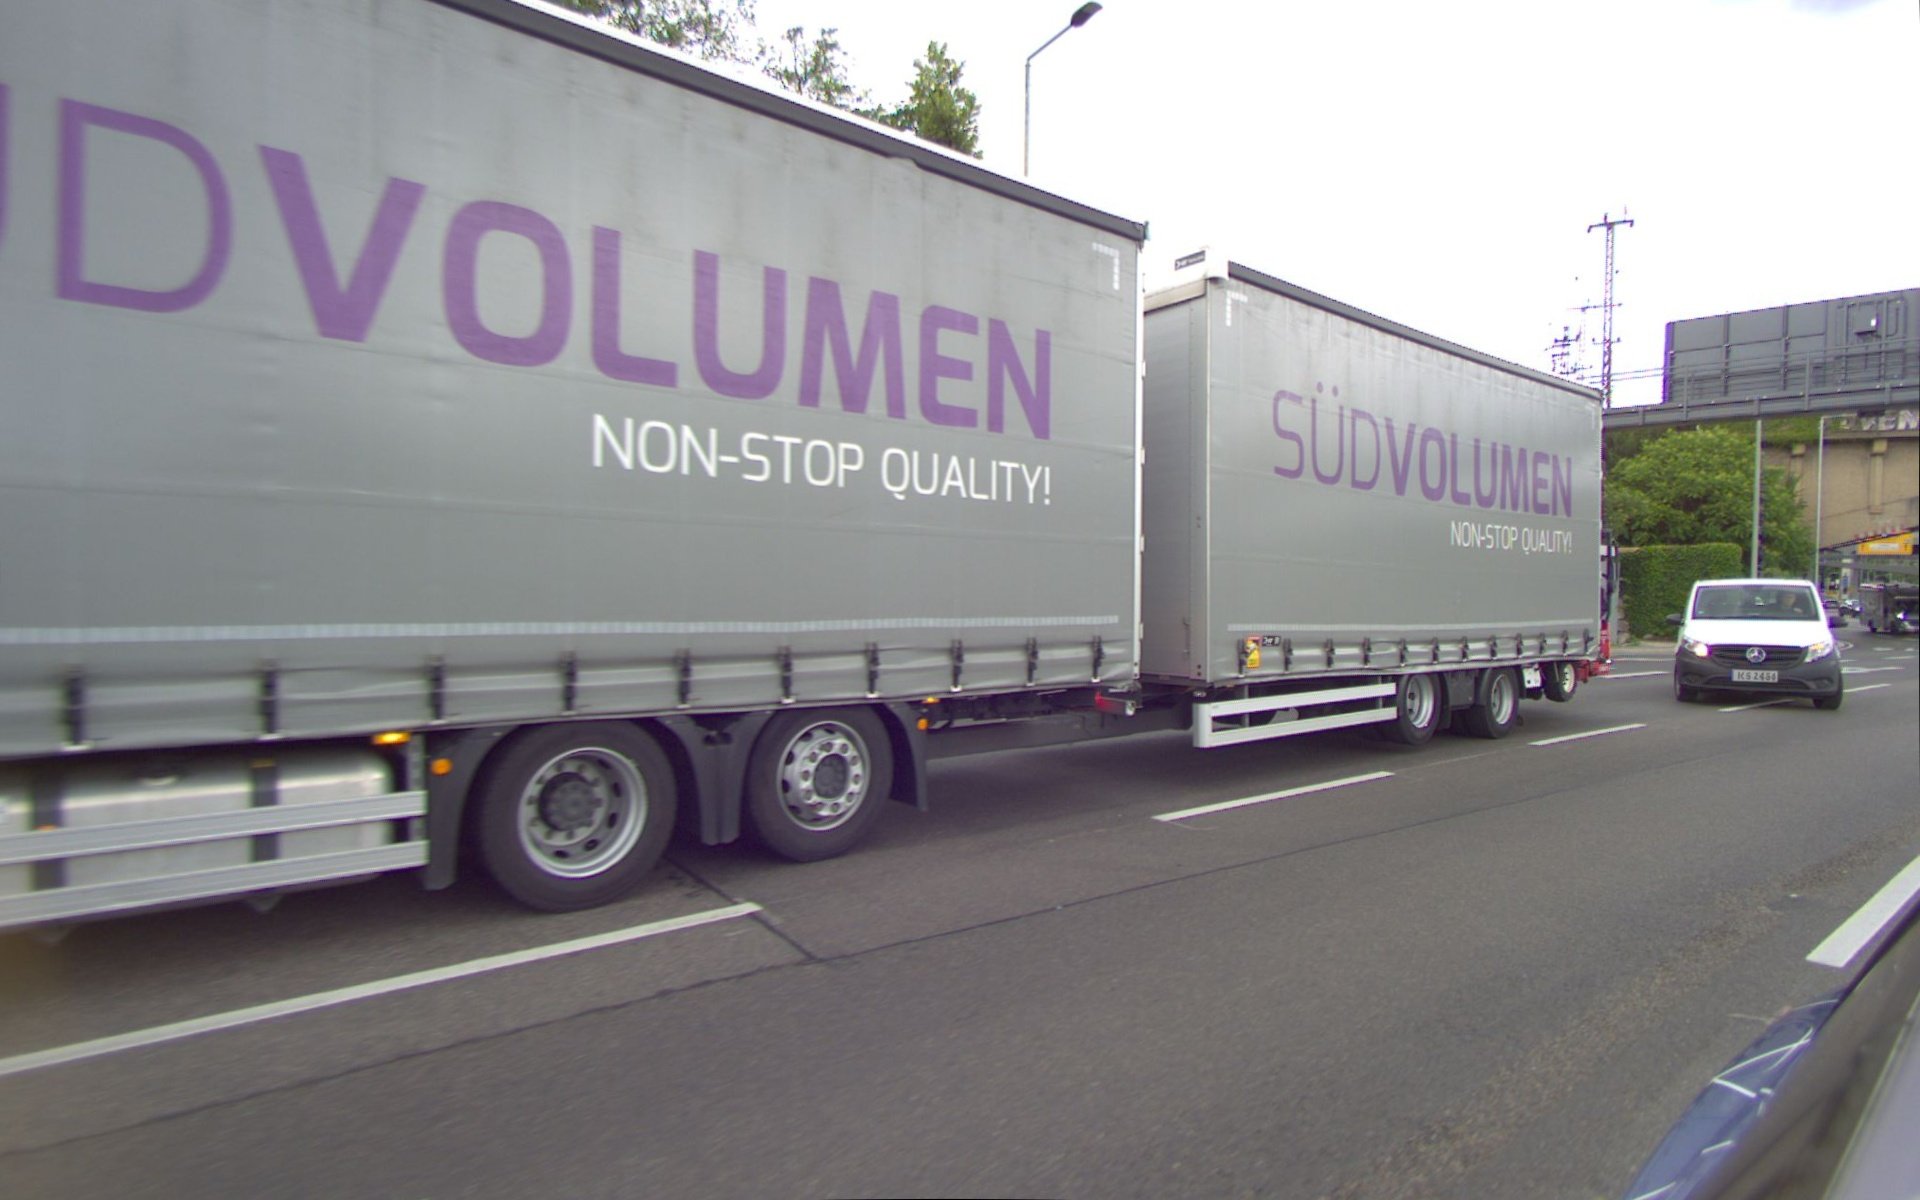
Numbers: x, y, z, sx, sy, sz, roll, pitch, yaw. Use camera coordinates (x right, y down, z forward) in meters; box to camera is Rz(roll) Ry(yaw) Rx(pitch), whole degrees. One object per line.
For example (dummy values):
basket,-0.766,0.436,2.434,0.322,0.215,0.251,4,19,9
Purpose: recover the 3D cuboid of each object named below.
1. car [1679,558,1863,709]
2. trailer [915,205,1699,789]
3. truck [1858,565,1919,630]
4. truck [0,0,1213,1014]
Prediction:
car,12.774,0.437,16.125,1.989,2.015,5.129,0,0,37
trailer,4.900,-0.749,12.117,10.784,4.194,3.733,0,0,-39
truck,56.210,-0.171,60.010,2.553,3.613,9.020,0,0,29
truck,-3.523,-0.756,5.387,10.784,4.194,3.733,0,0,-39
